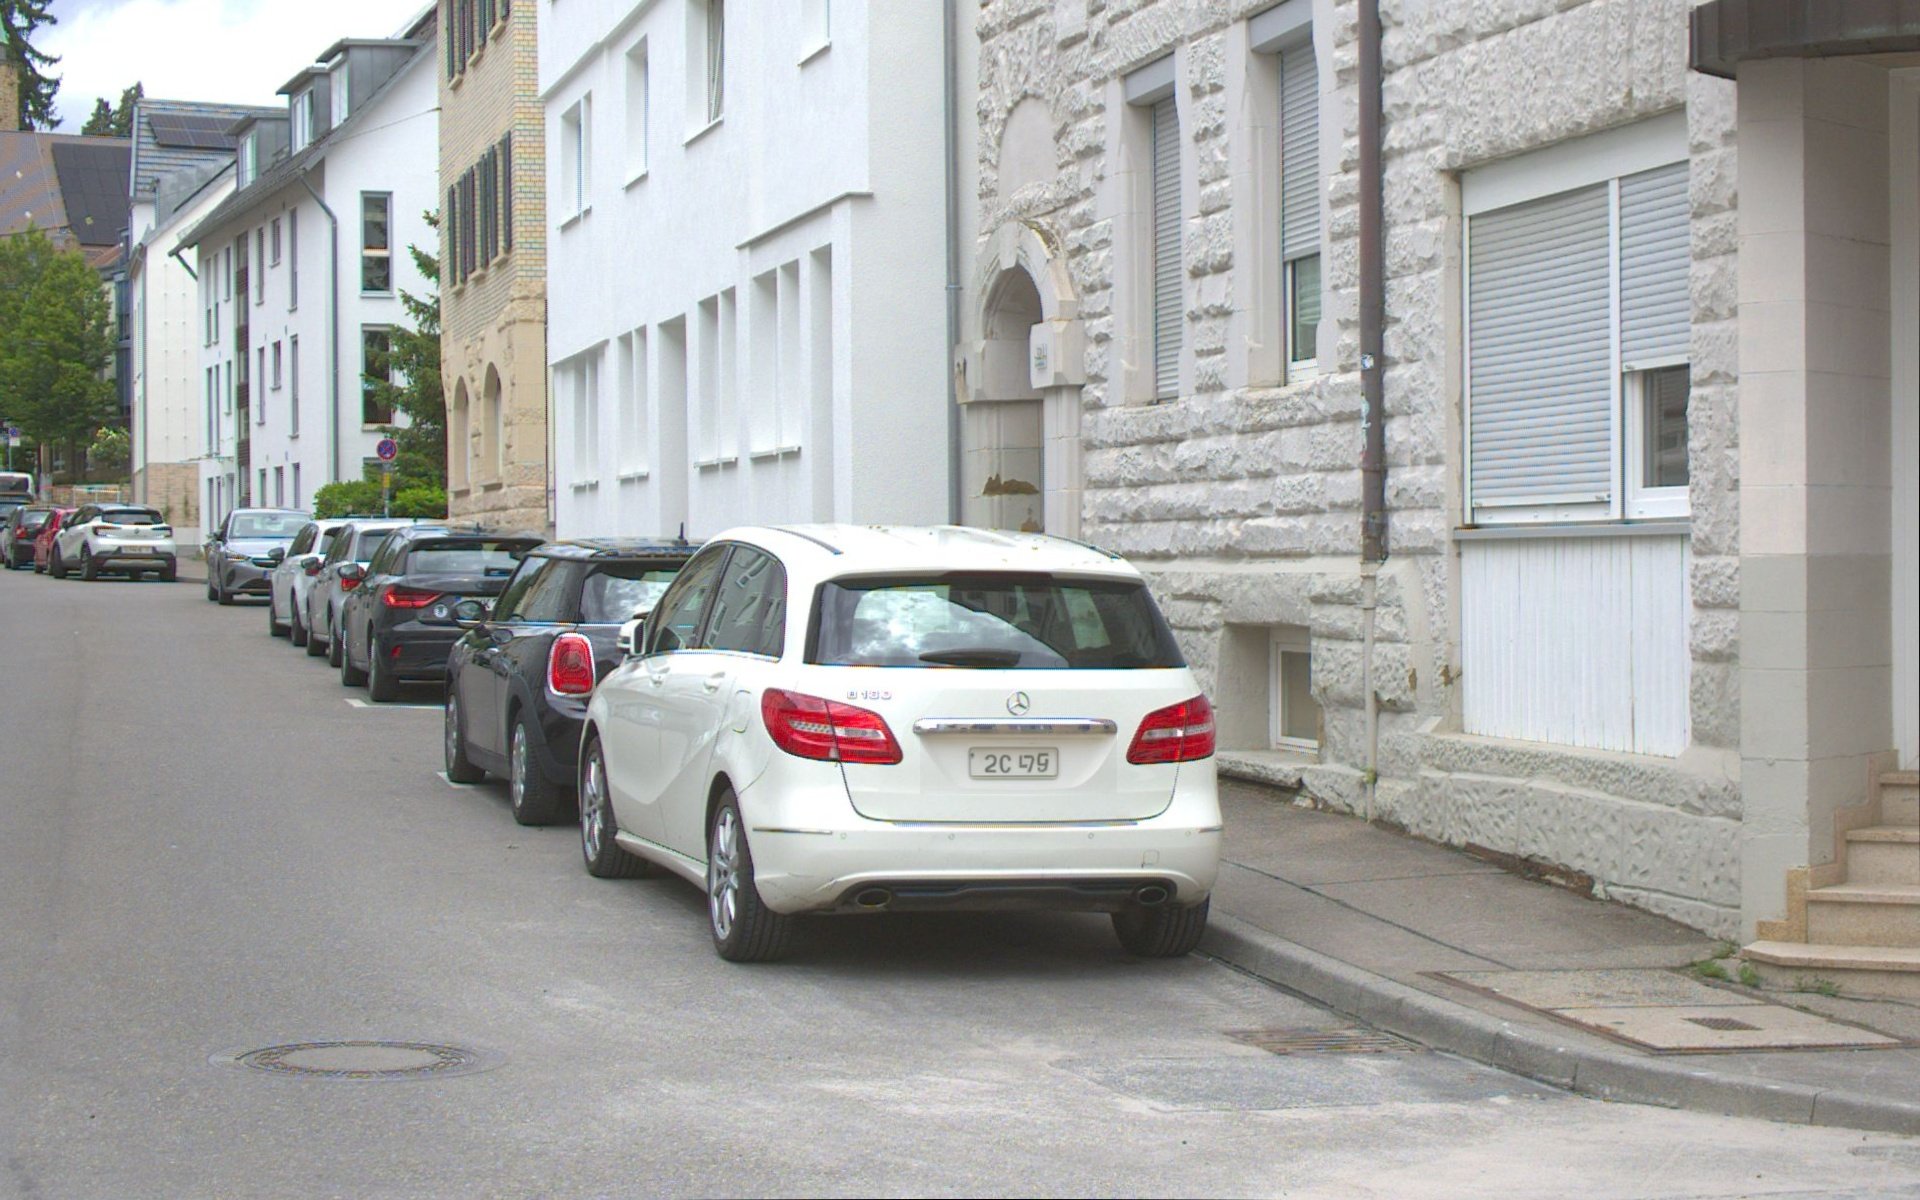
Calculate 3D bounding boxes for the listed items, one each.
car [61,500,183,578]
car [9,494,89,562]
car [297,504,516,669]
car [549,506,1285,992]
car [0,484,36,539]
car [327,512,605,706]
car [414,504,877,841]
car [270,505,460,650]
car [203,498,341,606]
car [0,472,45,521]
[{"bbox_3d":[-16.870,-1.244,69.101,1.783,1.474,3.627,0,2,-23],"label":"car"},{"bbox_3d":[-21.038,-1.683,79.336,1.667,1.474,3.627,0,2,-17],"label":"car"},{"bbox_3d":[-5.592,-0.167,34.424,1.667,1.474,3.627,2,2,-17],"label":"car"},{"bbox_3d":[-0.350,0.463,13.531,1.819,1.594,4.029,2,1,-17],"label":"car"},{"bbox_3d":[-26.587,-2.473,95.537,1.667,1.474,3.627,0,2,-17],"label":"car"},{"bbox_3d":[-4.147,0.027,28.388,1.667,1.380,4.029,2,2,-17],"label":"car"},{"bbox_3d":[-1.800,0.306,18.412,1.667,1.527,4.029,2,2,-17],"label":"car"},{"bbox_3d":[-6.778,-0.285,38.899,1.667,1.474,3.627,2,2,-17],"label":"car"},{"bbox_3d":[-10.369,-0.746,51.676,1.667,1.474,3.627,2,2,-17],"label":"car"},{"bbox_3d":[-29.330,-3.234,106.695,1.667,1.474,3.627,0,2,-17],"label":"car"}]
